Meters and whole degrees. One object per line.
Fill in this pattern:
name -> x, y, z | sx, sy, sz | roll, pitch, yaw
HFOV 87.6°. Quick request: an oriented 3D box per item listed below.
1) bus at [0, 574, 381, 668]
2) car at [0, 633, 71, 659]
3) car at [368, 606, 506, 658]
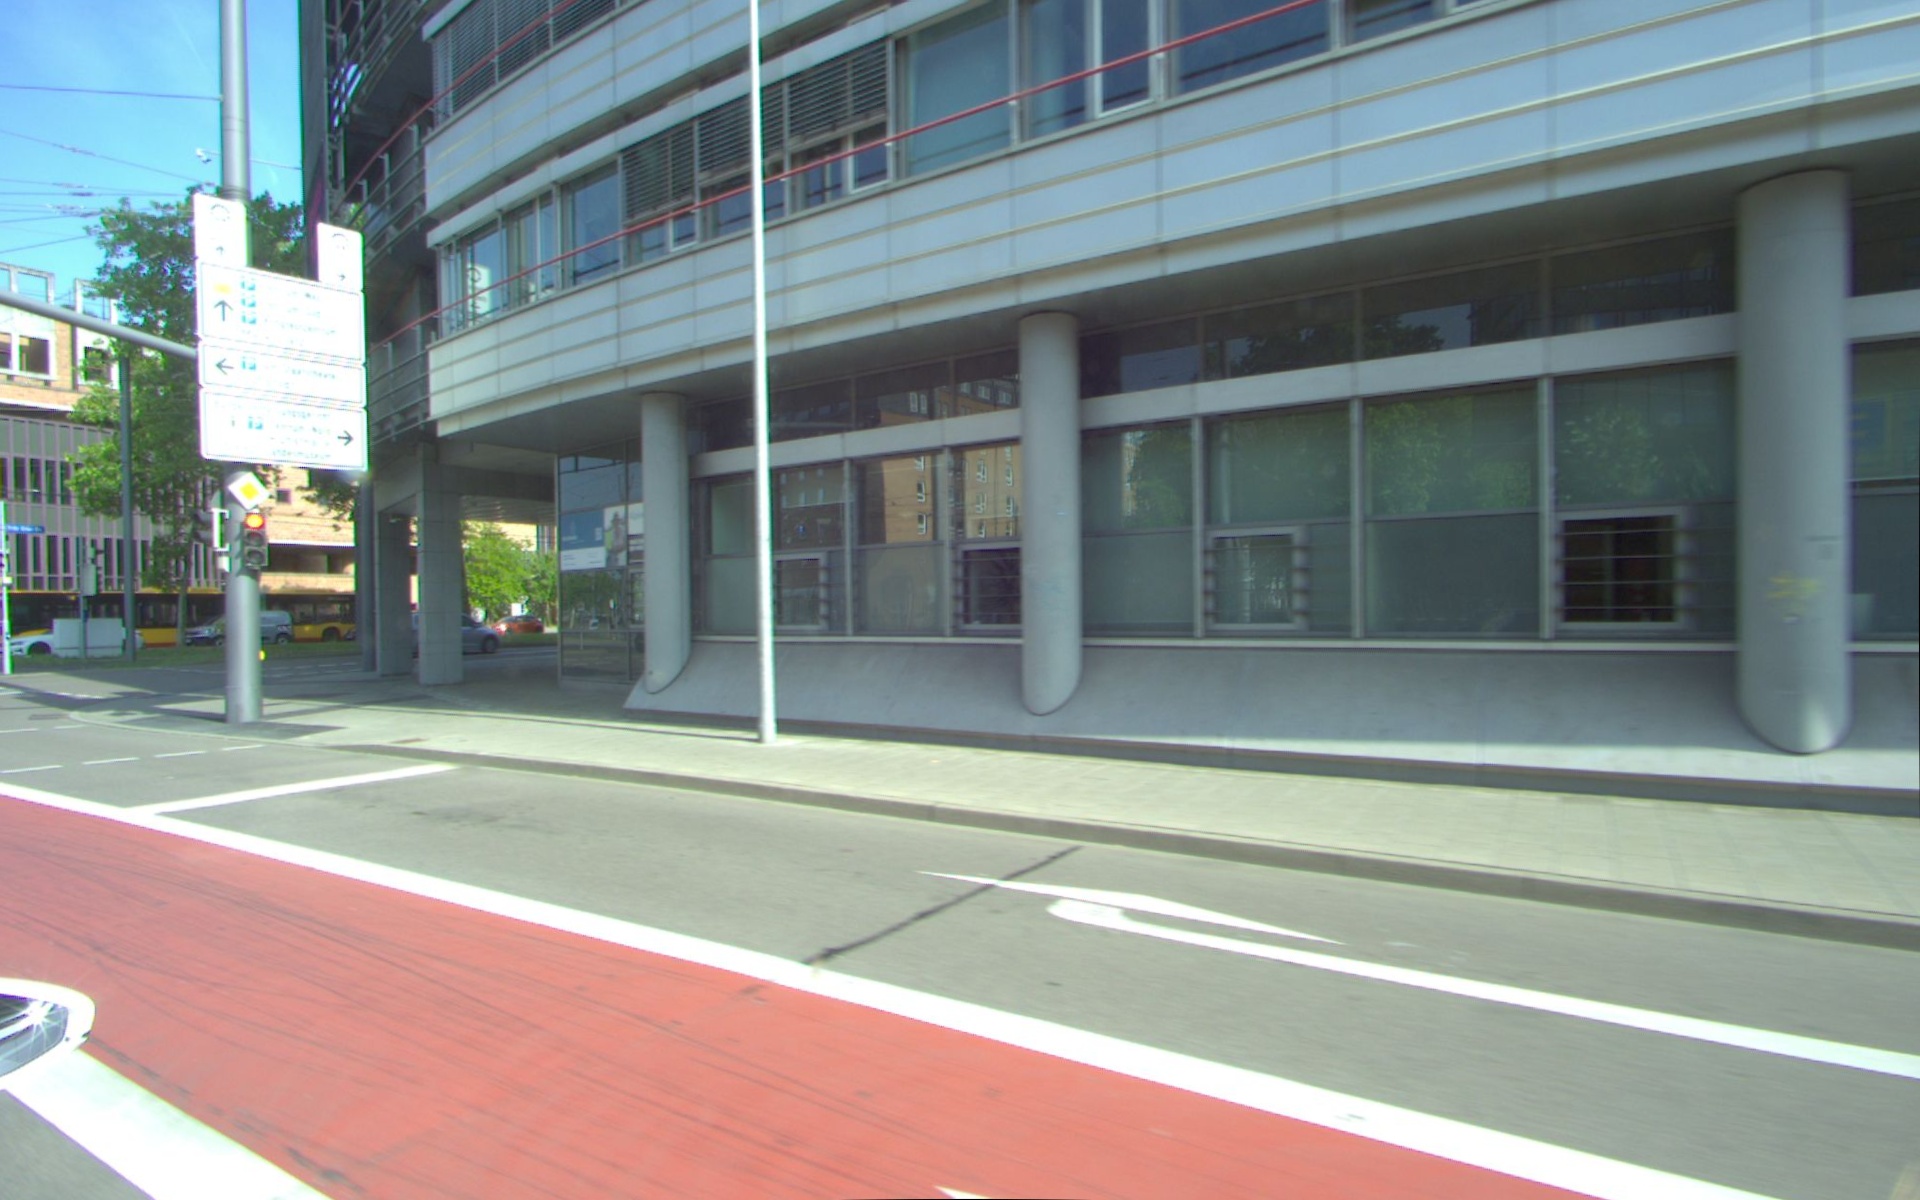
bus -> -37.502, 1.003, 49.076 | 2.817, 3.859, 17.621 | -2, -1, 23
car -> -37.027, 1.818, 40.078 | 1.078, 0.970, 1.948 | -1, 0, 31
car -> -18.615, 1.086, 35.871 | 1.661, 1.656, 4.380 | 1, 1, 22
